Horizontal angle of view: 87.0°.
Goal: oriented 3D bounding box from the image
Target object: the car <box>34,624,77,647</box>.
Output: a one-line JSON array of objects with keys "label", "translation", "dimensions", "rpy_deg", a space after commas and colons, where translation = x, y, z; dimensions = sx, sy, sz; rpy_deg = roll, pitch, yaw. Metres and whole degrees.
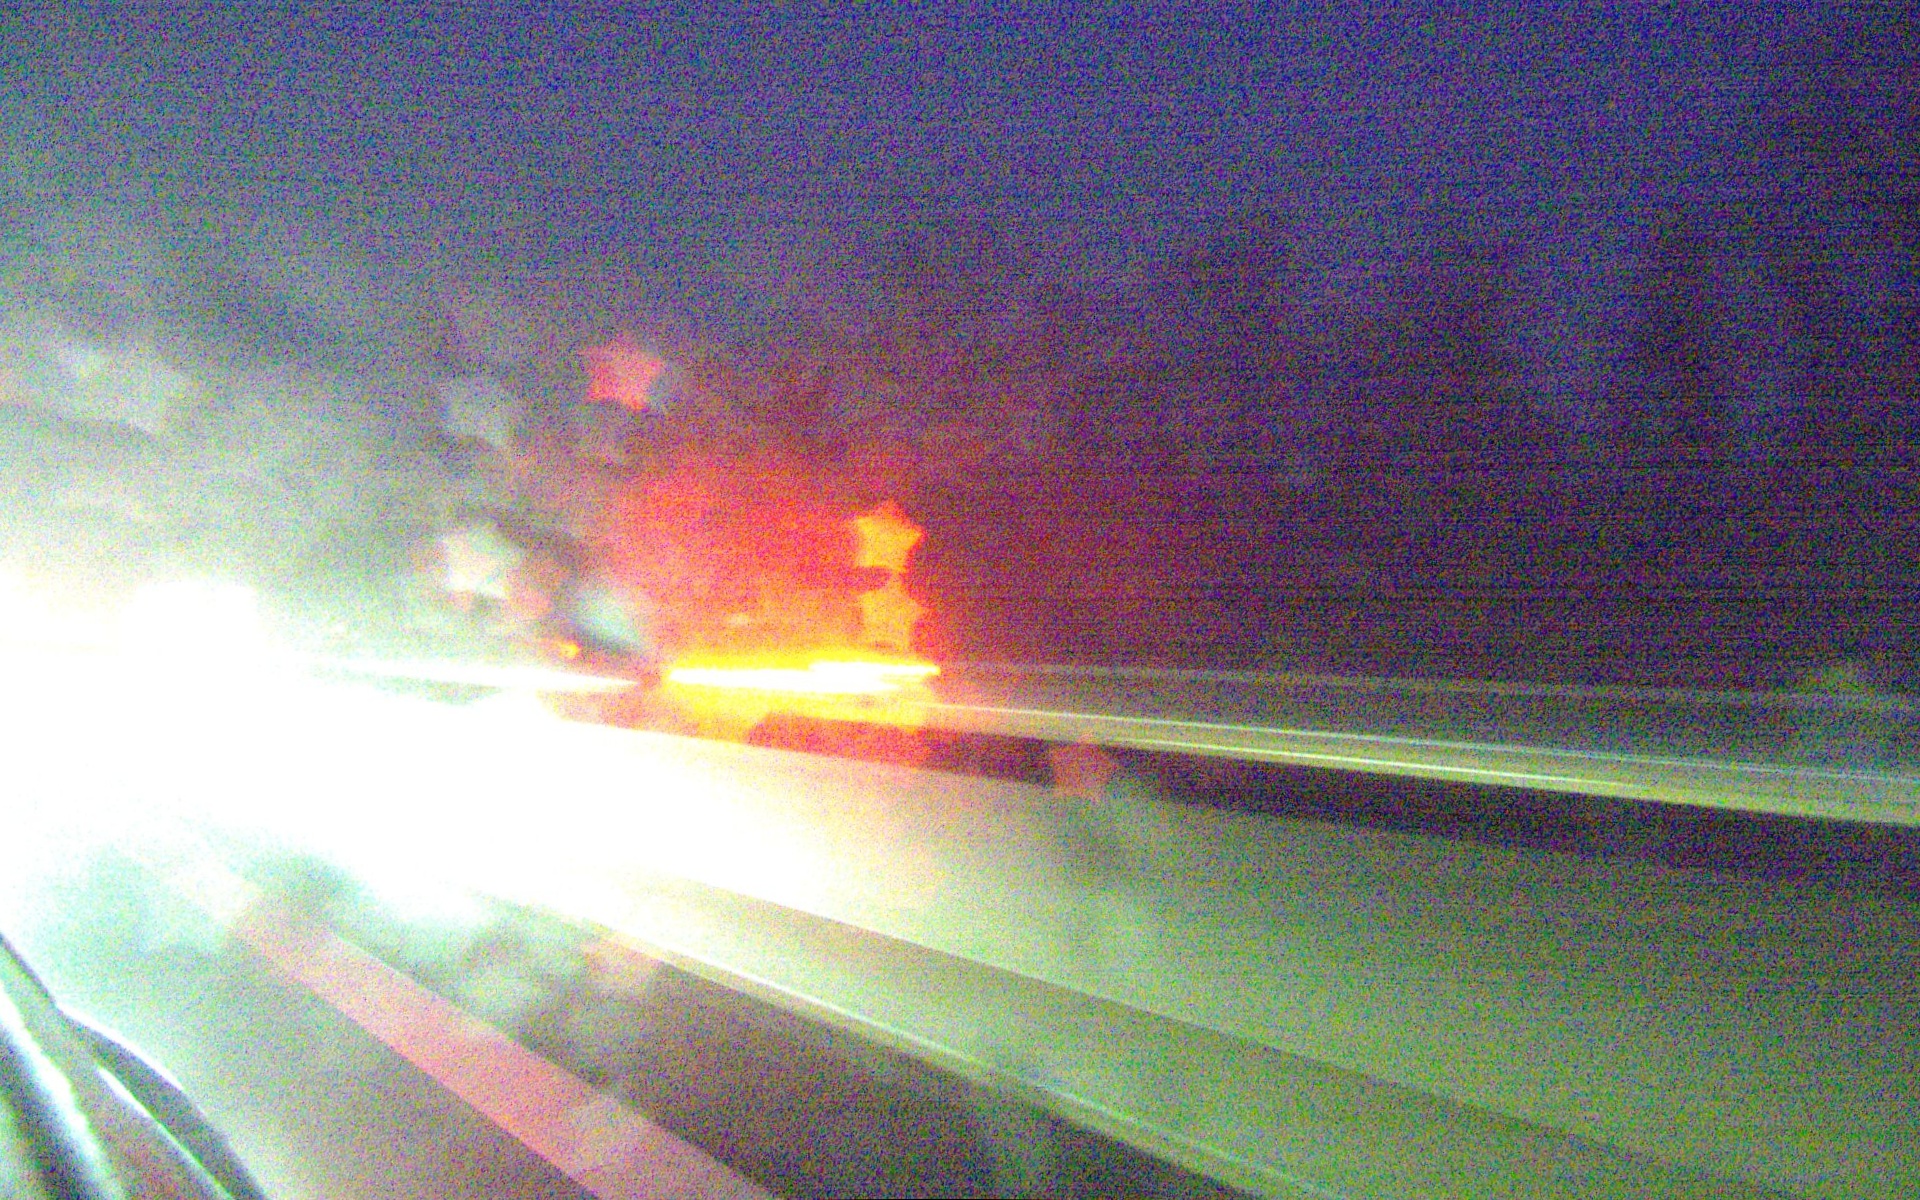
[{"label": "car", "translation": [-65.720, 2.605, 73.517], "dimensions": [4.345, 1.610, 1.661], "rpy_deg": [-2, -3, 40]}]

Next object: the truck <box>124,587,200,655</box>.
[{"label": "truck", "translation": [-54.106, 1.451, 68.558], "dimensions": [6.742, 4.368, 2.856], "rpy_deg": [-3, -1, 41]}]

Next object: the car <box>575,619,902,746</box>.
[{"label": "car", "translation": [-2.977, 0.962, 13.112], "dimensions": [4.284, 1.355, 1.942], "rpy_deg": [-2, -1, 40]}]

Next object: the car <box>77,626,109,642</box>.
[{"label": "car", "translation": [-104.915, 4.066, 122.416], "dimensions": [4.787, 1.907, 2.191], "rpy_deg": [-1, -3, 41]}]

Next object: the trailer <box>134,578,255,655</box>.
[{"label": "trailer", "translation": [-48.207, 1.177, 63.396], "dimensions": [15.709, 4.337, 2.856], "rpy_deg": [-3, -1, 41]}]

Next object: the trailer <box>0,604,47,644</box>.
[{"label": "trailer", "translation": [-108.929, 2.821, 117.080], "dimensions": [14.400, 4.326, 3.016], "rpy_deg": [-1, -3, 41]}]
